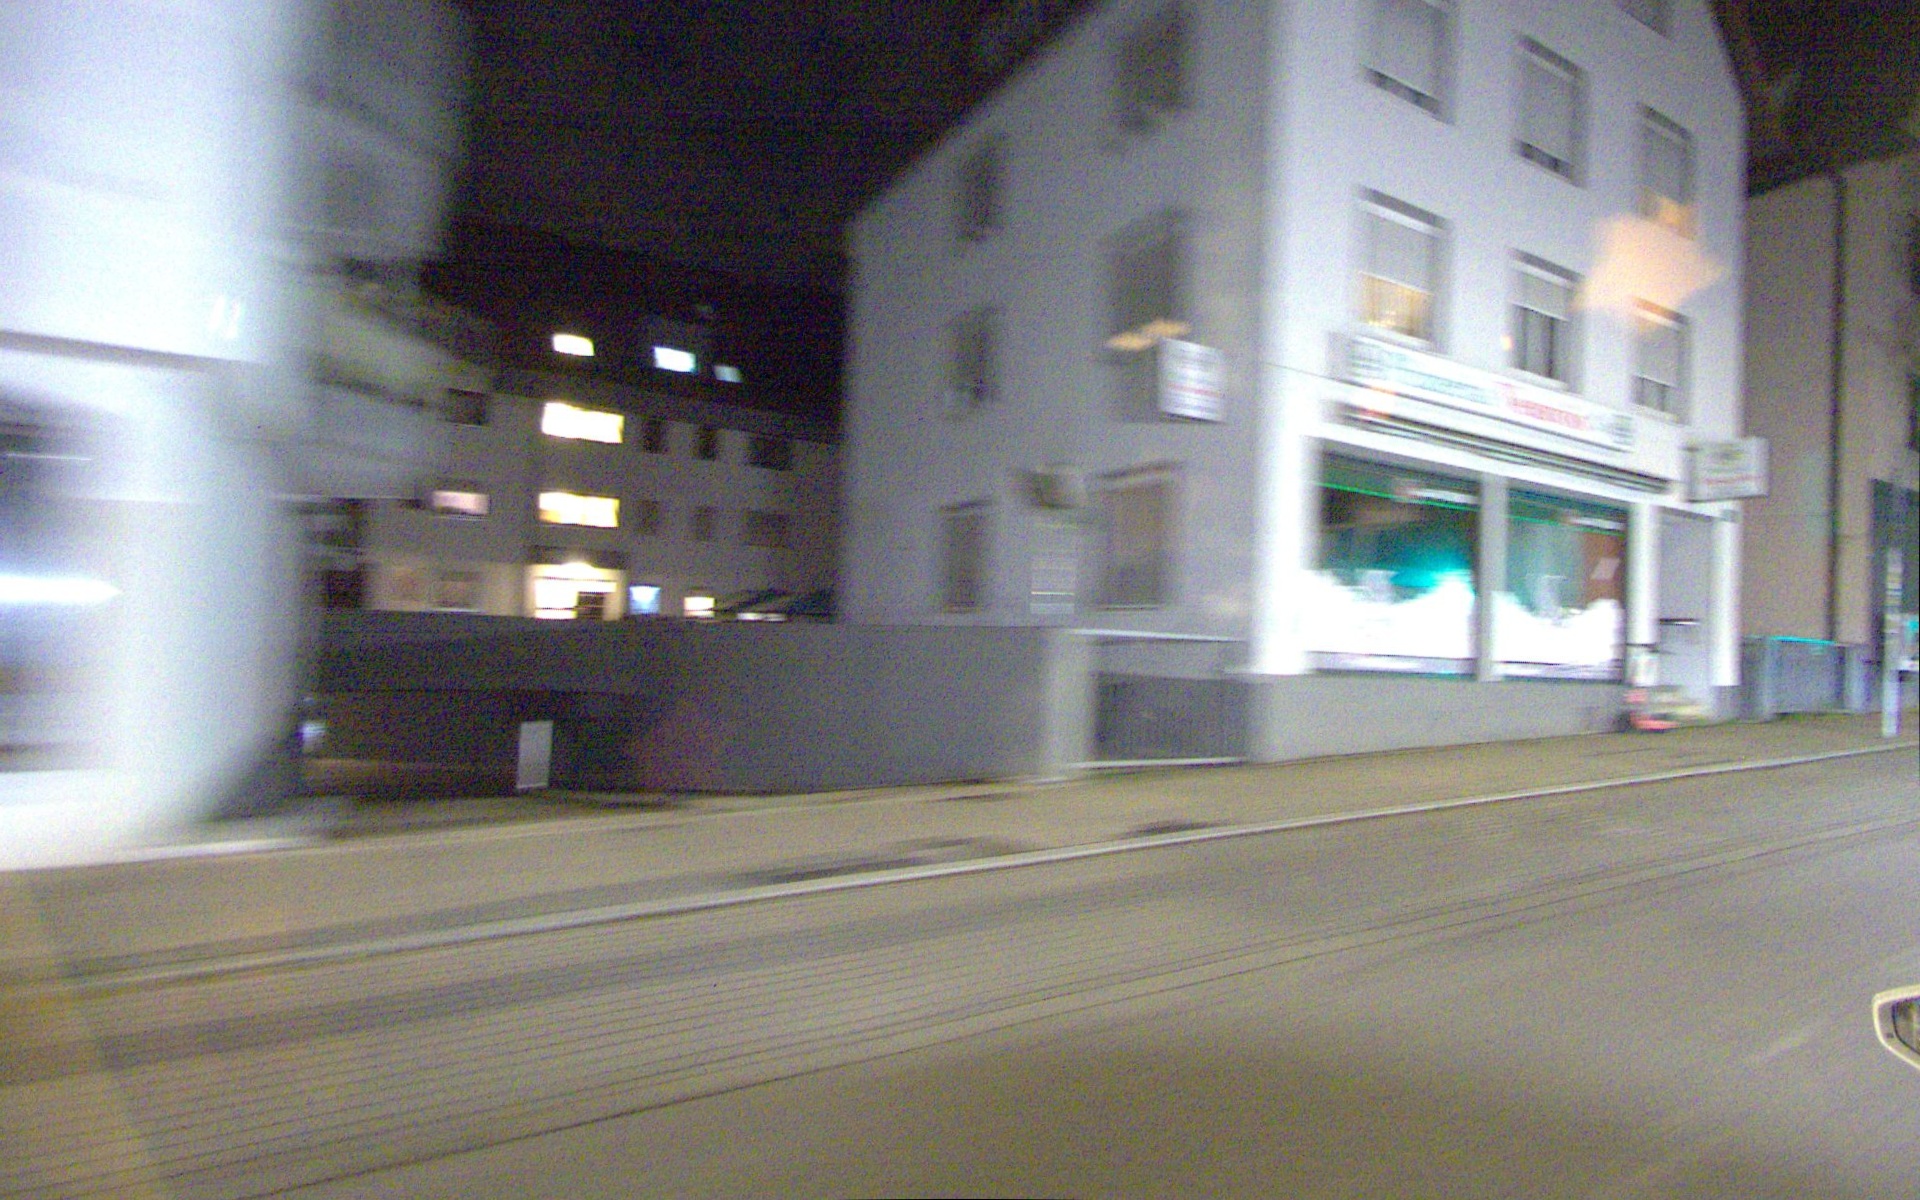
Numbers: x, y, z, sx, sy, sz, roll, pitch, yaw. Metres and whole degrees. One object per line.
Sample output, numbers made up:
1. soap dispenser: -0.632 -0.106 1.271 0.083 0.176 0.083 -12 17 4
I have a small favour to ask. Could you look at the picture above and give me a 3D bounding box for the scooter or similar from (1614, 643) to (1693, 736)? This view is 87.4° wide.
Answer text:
1. scooter or similar: 9.675 1.230 13.999 1.319 1.242 0.330 2 -1 -29
